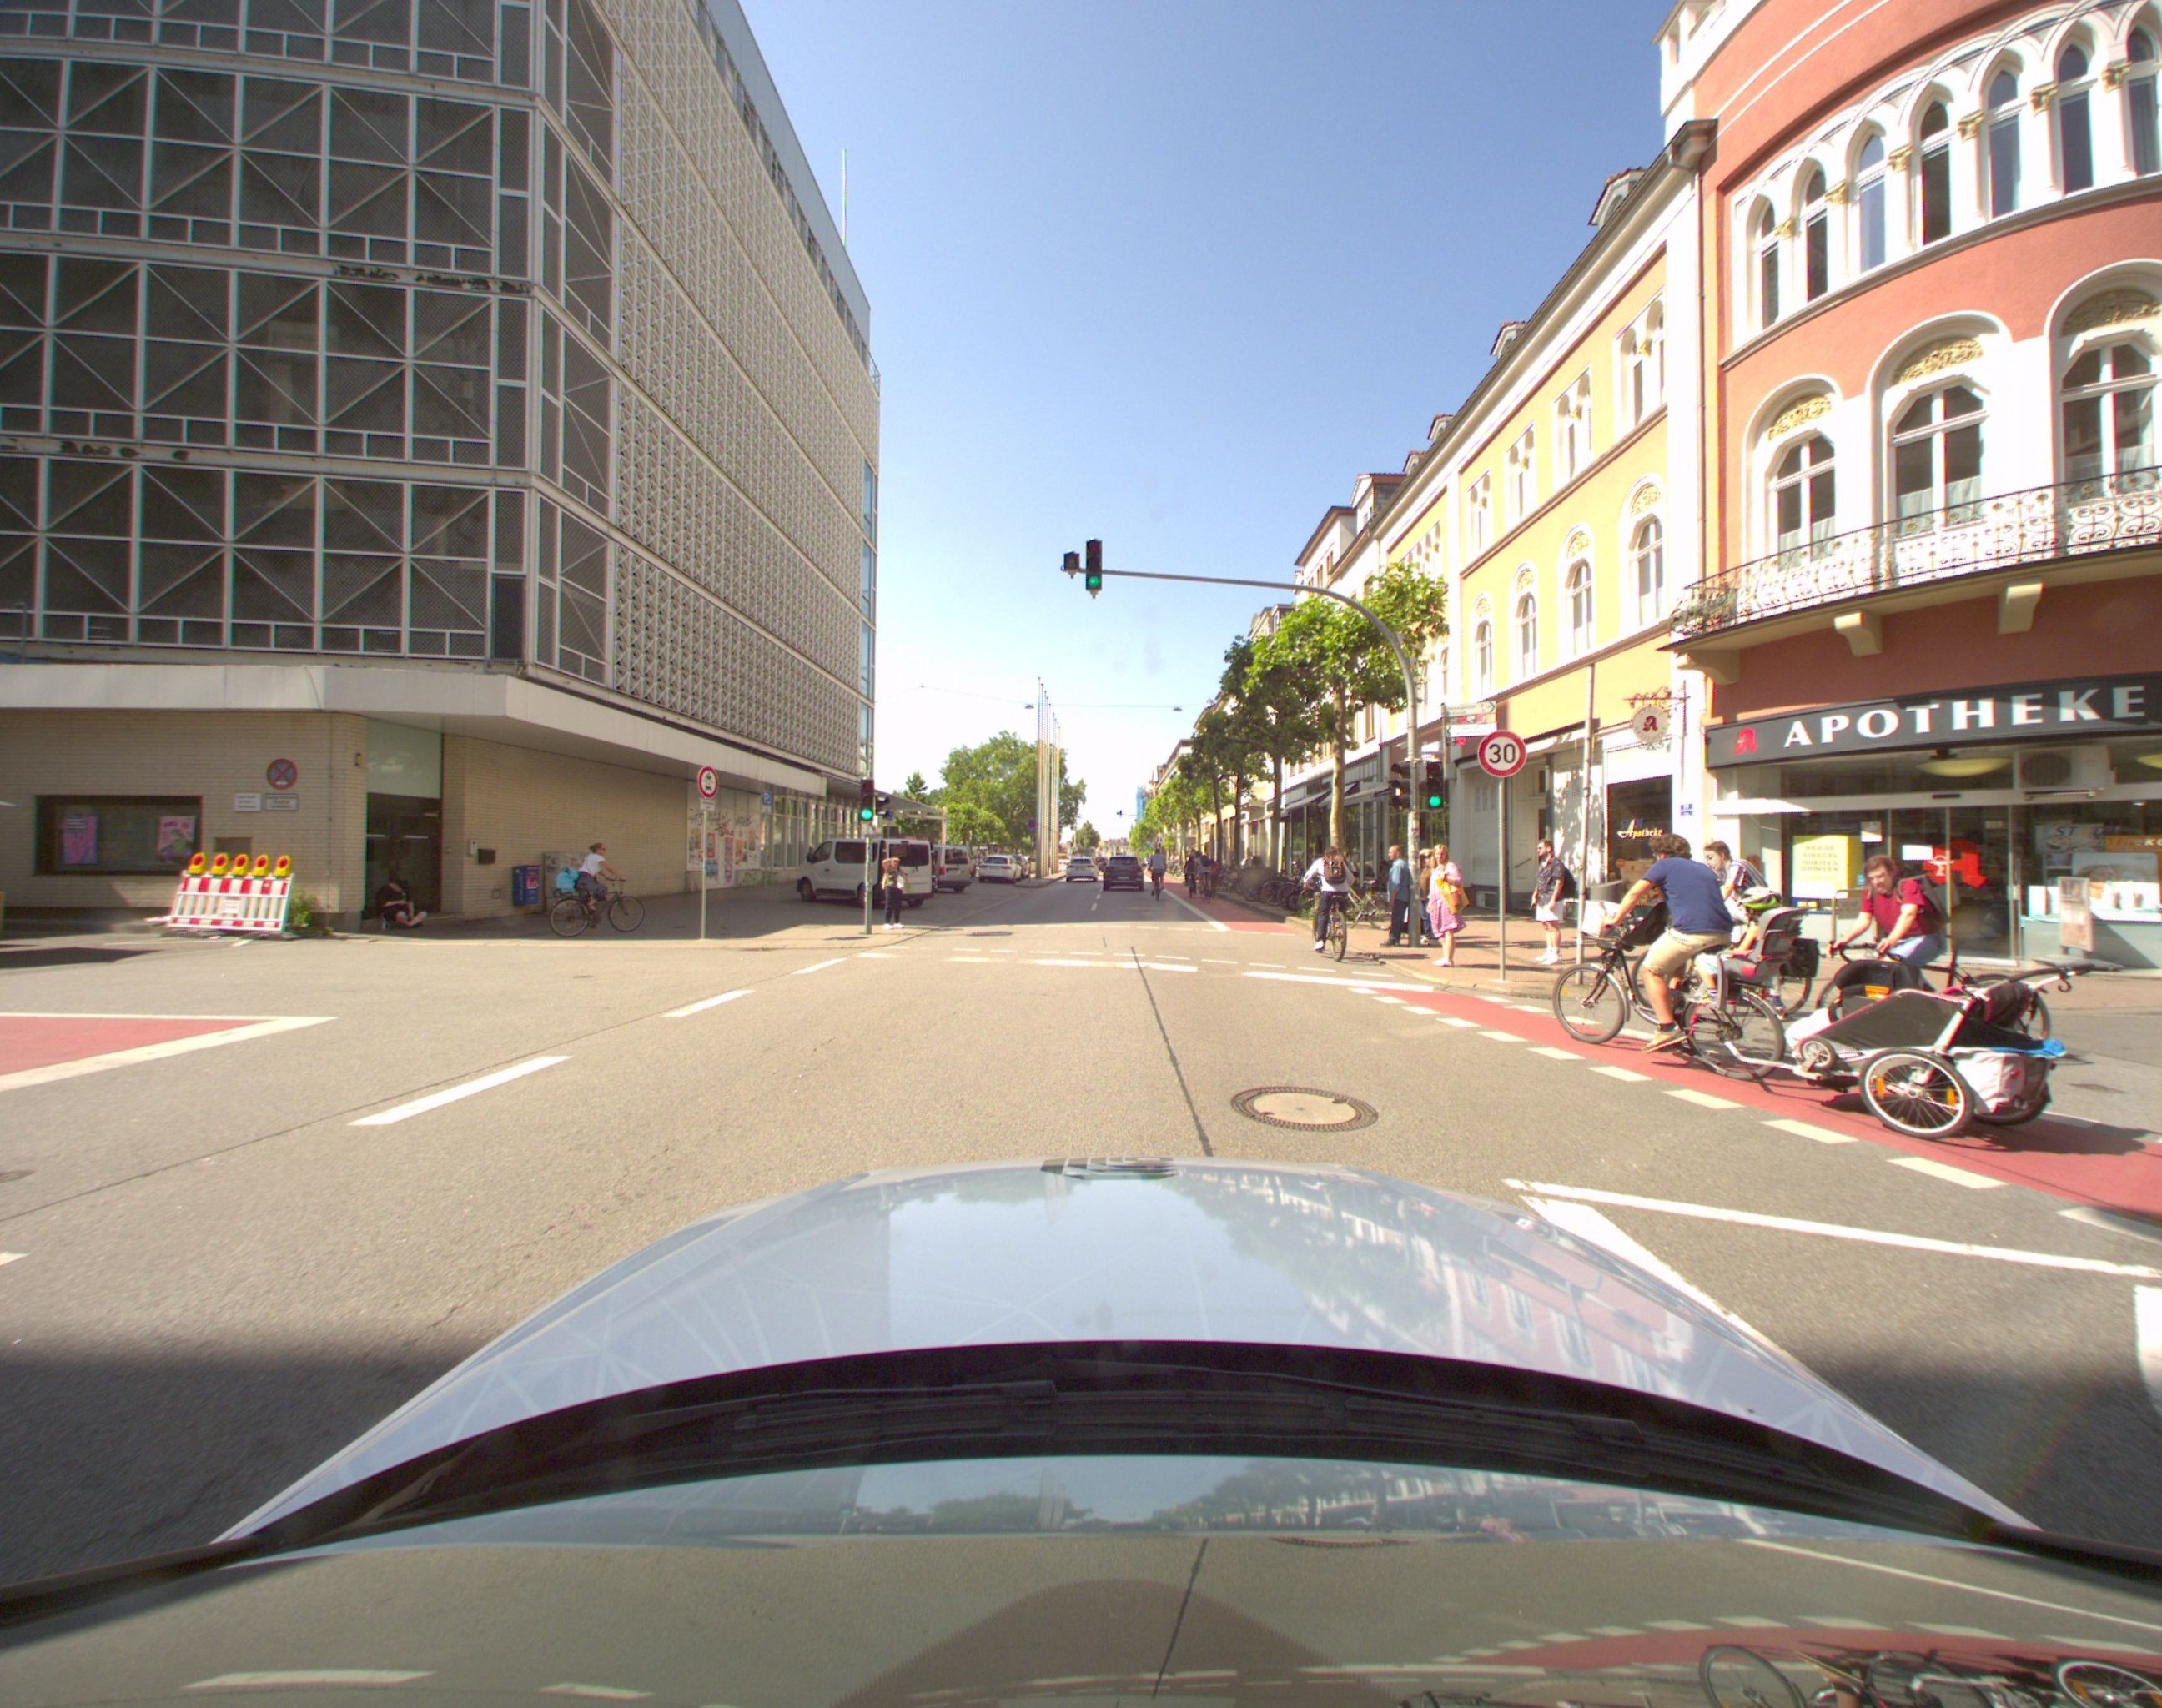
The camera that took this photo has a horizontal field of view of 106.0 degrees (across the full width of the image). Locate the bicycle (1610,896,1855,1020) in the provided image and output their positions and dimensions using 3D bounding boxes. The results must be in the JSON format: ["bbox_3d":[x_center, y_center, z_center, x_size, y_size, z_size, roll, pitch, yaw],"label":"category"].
[{"bbox_3d":[6.424,1.002,8.110,1.831,1.127,0.667,0,-1,6],"label":"bicycle"}]

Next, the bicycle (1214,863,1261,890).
[{"bbox_3d":[6.836,0.981,35.542,1.840,1.127,0.762,3,-2,-11],"label":"bicycle"}]

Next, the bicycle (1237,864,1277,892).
[{"bbox_3d":[7.165,0.977,33.152,1.853,1.127,0.443,1,-2,-35],"label":"bicycle"}]

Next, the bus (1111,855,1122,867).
[{"bbox_3d":[10.773,2.152,246.296,2.984,3.594,11.747,1,-1,2],"label":"bus"}]

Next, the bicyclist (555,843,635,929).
[{"bbox_3d":[-9.183,0.575,15.416,0.727,1.539,1.083,1,1,24],"label":"bicyclist"}]

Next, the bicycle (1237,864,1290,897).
[{"bbox_3d":[6.653,0.969,29.625,1.827,1.127,0.532,2,-1,14],"label":"bicycle"}]

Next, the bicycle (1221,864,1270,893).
[{"bbox_3d":[6.500,0.955,32.192,1.822,1.127,0.451,-1,-2,30],"label":"bicycle"}]

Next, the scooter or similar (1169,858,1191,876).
[{"bbox_3d":[7.324,0.957,60.289,1.465,1.274,0.672,2,-1,13],"label":"scooter or similar"}]

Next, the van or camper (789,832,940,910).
[{"bbox_3d":[-6.435,0.424,23.938,4.602,2.013,2.012,2,0,41],"label":"van or camper"}]

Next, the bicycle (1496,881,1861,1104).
[{"bbox_3d":[4.396,0.911,6.289,0.734,1.268,2.269,1,1,-17],"label":"bicycle"}]

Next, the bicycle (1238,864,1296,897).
[{"bbox_3d":[6.611,0.940,28.912,1.971,1.127,0.764,0,-2,14],"label":"bicycle"}]

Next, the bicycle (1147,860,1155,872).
[{"bbox_3d":[6.416,1.094,74.658,0.644,0.998,2.032,0,0,2],"label":"bicycle"}]

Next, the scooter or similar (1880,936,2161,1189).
[{"bbox_3d":[5.216,1.029,4.359,0.786,1.060,1.117,2,0,-22],"label":"scooter or similar"}]

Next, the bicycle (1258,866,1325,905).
[{"bbox_3d":[6.170,0.911,23.946,1.832,1.127,0.644,0,-1,3],"label":"bicycle"}]

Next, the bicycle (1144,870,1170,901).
[{"bbox_3d":[2.640,1.067,28.458,0.771,1.006,2.331,0,0,3],"label":"bicycle"}]

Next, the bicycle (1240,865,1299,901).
[{"bbox_3d":[6.127,0.941,26.503,1.832,1.127,0.530,0,-2,3],"label":"bicycle"}]

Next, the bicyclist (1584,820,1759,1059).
[{"bbox_3d":[4.466,0.602,6.203,0.732,1.673,0.770,0,-1,-16],"label":"bicyclist"}]

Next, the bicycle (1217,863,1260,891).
[{"bbox_3d":[6.423,0.949,33.225,1.853,1.127,0.587,1,-2,-34],"label":"bicycle"}]

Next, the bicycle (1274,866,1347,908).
[{"bbox_3d":[6.284,0.889,22.366,1.832,1.127,0.667,0,-1,3],"label":"bicycle"}]

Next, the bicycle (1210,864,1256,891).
[{"bbox_3d":[6.453,0.999,34.579,1.833,1.093,0.565,2,-1,2],"label":"bicycle"}]

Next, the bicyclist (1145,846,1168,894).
[{"bbox_3d":[2.636,0.555,28.444,0.771,1.635,0.852,0,0,2],"label":"bicyclist"}]

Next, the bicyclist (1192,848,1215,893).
[{"bbox_3d":[4.120,0.536,27.483,0.628,1.481,1.198,0,0,1],"label":"bicyclist"}]

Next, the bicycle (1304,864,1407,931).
[{"bbox_3d":[5.627,0.861,16.766,1.833,1.188,0.721,4,3,40],"label":"bicycle"}]

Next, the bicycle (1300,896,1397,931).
[{"bbox_3d":[6.101,1.382,18.679,1.142,0.434,1.842,-10,-5,-24],"label":"bicycle"}]

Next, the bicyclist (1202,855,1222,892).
[{"bbox_3d":[4.894,0.733,30.485,0.598,1.357,0.720,-2,-1,-2],"label":"bicyclist"}]

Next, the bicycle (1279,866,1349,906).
[{"bbox_3d":[6.646,0.899,23.327,1.832,1.127,0.667,0,-1,3],"label":"bicycle"}]

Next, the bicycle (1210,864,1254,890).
[{"bbox_3d":[6.727,1.028,36.287,1.839,1.093,0.563,2,-1,-9],"label":"bicycle"}]

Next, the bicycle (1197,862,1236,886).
[{"bbox_3d":[6.864,0.994,41.242,1.837,1.127,0.496,3,1,-6],"label":"bicycle"}]

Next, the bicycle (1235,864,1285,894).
[{"bbox_3d":[6.784,0.940,30.883,1.831,1.127,0.449,0,-2,4],"label":"bicycle"}]

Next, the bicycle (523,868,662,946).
[{"bbox_3d":[-9.178,0.951,15.419,0.727,1.267,2.224,1,1,24],"label":"bicycle"}]

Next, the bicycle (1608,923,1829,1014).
[{"bbox_3d":[6.413,1.142,8.243,1.814,0.844,0.501,0,0,2],"label":"bicycle"}]

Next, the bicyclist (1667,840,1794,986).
[{"bbox_3d":[6.464,0.575,8.134,0.855,1.411,0.501,0,0,2],"label":"bicyclist"}]

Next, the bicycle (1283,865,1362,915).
[{"bbox_3d":[6.003,0.889,20.290,1.826,1.127,0.347,2,1,17],"label":"bicycle"}]

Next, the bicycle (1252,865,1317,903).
[{"bbox_3d":[6.231,0.909,24.992,1.832,1.127,0.667,0,-1,3],"label":"bicycle"}]

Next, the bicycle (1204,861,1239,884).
[{"bbox_3d":[7.408,0.992,42.893,1.783,1.197,0.573,1,-1,-26],"label":"bicycle"}]

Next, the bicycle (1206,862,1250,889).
[{"bbox_3d":[6.648,0.969,36.789,1.839,1.127,0.630,3,-1,-9],"label":"bicycle"}]

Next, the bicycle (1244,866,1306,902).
[{"bbox_3d":[6.138,0.934,25.807,1.832,1.127,0.667,0,-1,3],"label":"bicycle"}]

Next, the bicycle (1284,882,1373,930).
[{"bbox_3d":[5.902,1.245,19.488,1.842,0.397,1.019,8,-35,6],"label":"bicycle"}]

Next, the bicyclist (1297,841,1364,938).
[{"bbox_3d":[3.874,0.539,12.717,0.696,1.446,0.960,2,-1,-1],"label":"bicyclist"}]

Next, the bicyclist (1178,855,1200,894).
[{"bbox_3d":[4.046,0.768,30.577,0.696,1.441,0.790,2,-1,-1],"label":"bicyclist"}]

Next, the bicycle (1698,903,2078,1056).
[{"bbox_3d":[6.500,0.986,6.618,2.558,1.127,0.627,0,0,-3],"label":"bicycle"}]

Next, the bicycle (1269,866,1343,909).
[{"bbox_3d":[5.952,0.881,21.605,1.829,1.127,0.668,0,-1,9],"label":"bicycle"}]

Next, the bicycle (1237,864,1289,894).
[{"bbox_3d":[6.784,0.936,30.423,1.831,1.127,0.449,0,-2,4],"label":"bicycle"}]

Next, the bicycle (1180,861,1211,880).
[{"bbox_3d":[7.057,1.010,50.336,1.827,1.127,0.499,2,-1,13],"label":"bicycle"}]

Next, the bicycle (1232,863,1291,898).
[{"bbox_3d":[6.082,0.881,27.498,1.831,1.127,0.680,2,0,4],"label":"bicycle"}]
